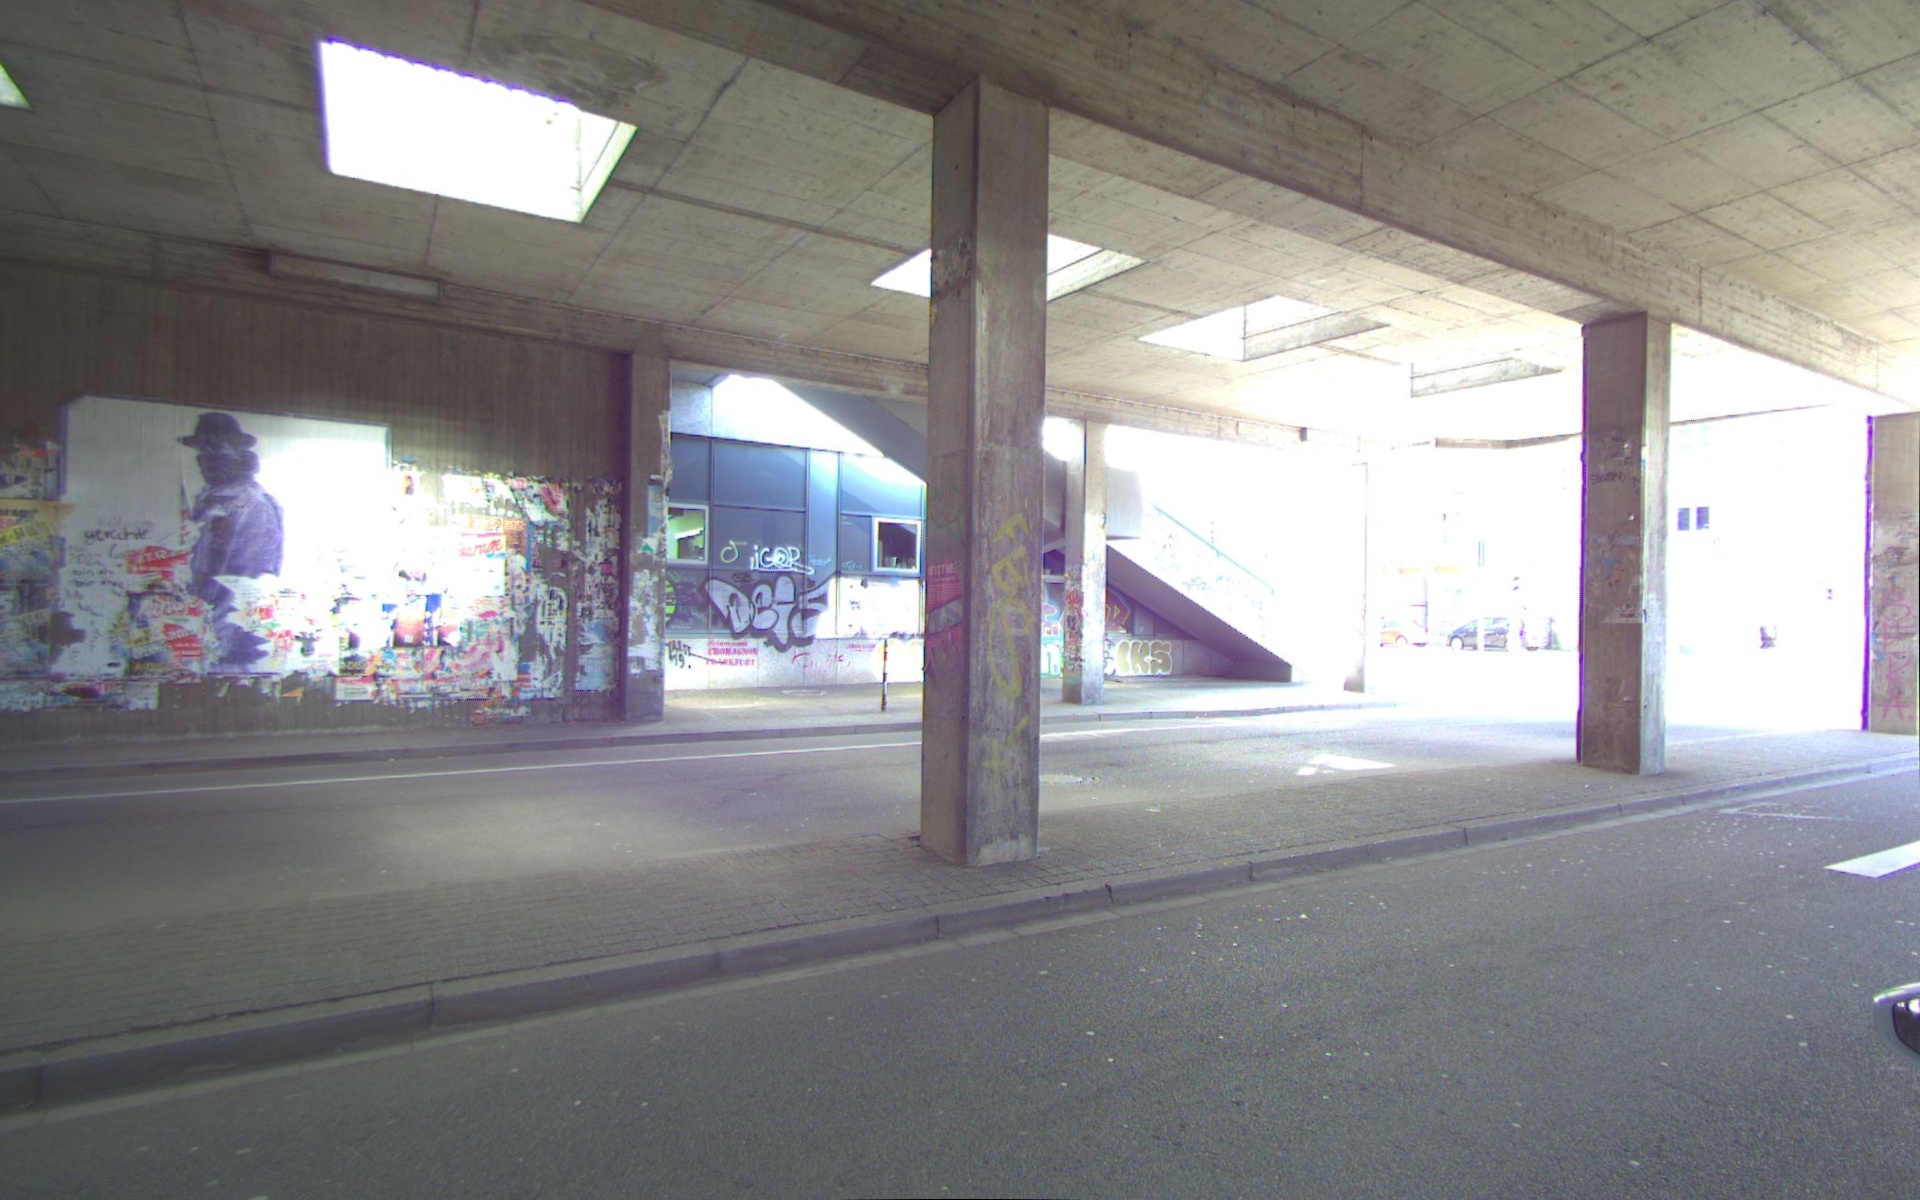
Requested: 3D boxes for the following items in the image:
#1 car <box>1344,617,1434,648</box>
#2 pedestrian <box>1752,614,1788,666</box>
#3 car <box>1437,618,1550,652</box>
[{"bbox_3d":[22.459,1.696,52.682,1.905,1.428,3.965,2,0,-32],"label":"car"},{"bbox_3d":[26.375,1.297,32.719,0.732,1.659,0.669,2,0,-30],"label":"pedestrian"},{"bbox_3d":[25.263,1.644,47.673,1.905,1.428,4.382,2,0,-32],"label":"car"}]
